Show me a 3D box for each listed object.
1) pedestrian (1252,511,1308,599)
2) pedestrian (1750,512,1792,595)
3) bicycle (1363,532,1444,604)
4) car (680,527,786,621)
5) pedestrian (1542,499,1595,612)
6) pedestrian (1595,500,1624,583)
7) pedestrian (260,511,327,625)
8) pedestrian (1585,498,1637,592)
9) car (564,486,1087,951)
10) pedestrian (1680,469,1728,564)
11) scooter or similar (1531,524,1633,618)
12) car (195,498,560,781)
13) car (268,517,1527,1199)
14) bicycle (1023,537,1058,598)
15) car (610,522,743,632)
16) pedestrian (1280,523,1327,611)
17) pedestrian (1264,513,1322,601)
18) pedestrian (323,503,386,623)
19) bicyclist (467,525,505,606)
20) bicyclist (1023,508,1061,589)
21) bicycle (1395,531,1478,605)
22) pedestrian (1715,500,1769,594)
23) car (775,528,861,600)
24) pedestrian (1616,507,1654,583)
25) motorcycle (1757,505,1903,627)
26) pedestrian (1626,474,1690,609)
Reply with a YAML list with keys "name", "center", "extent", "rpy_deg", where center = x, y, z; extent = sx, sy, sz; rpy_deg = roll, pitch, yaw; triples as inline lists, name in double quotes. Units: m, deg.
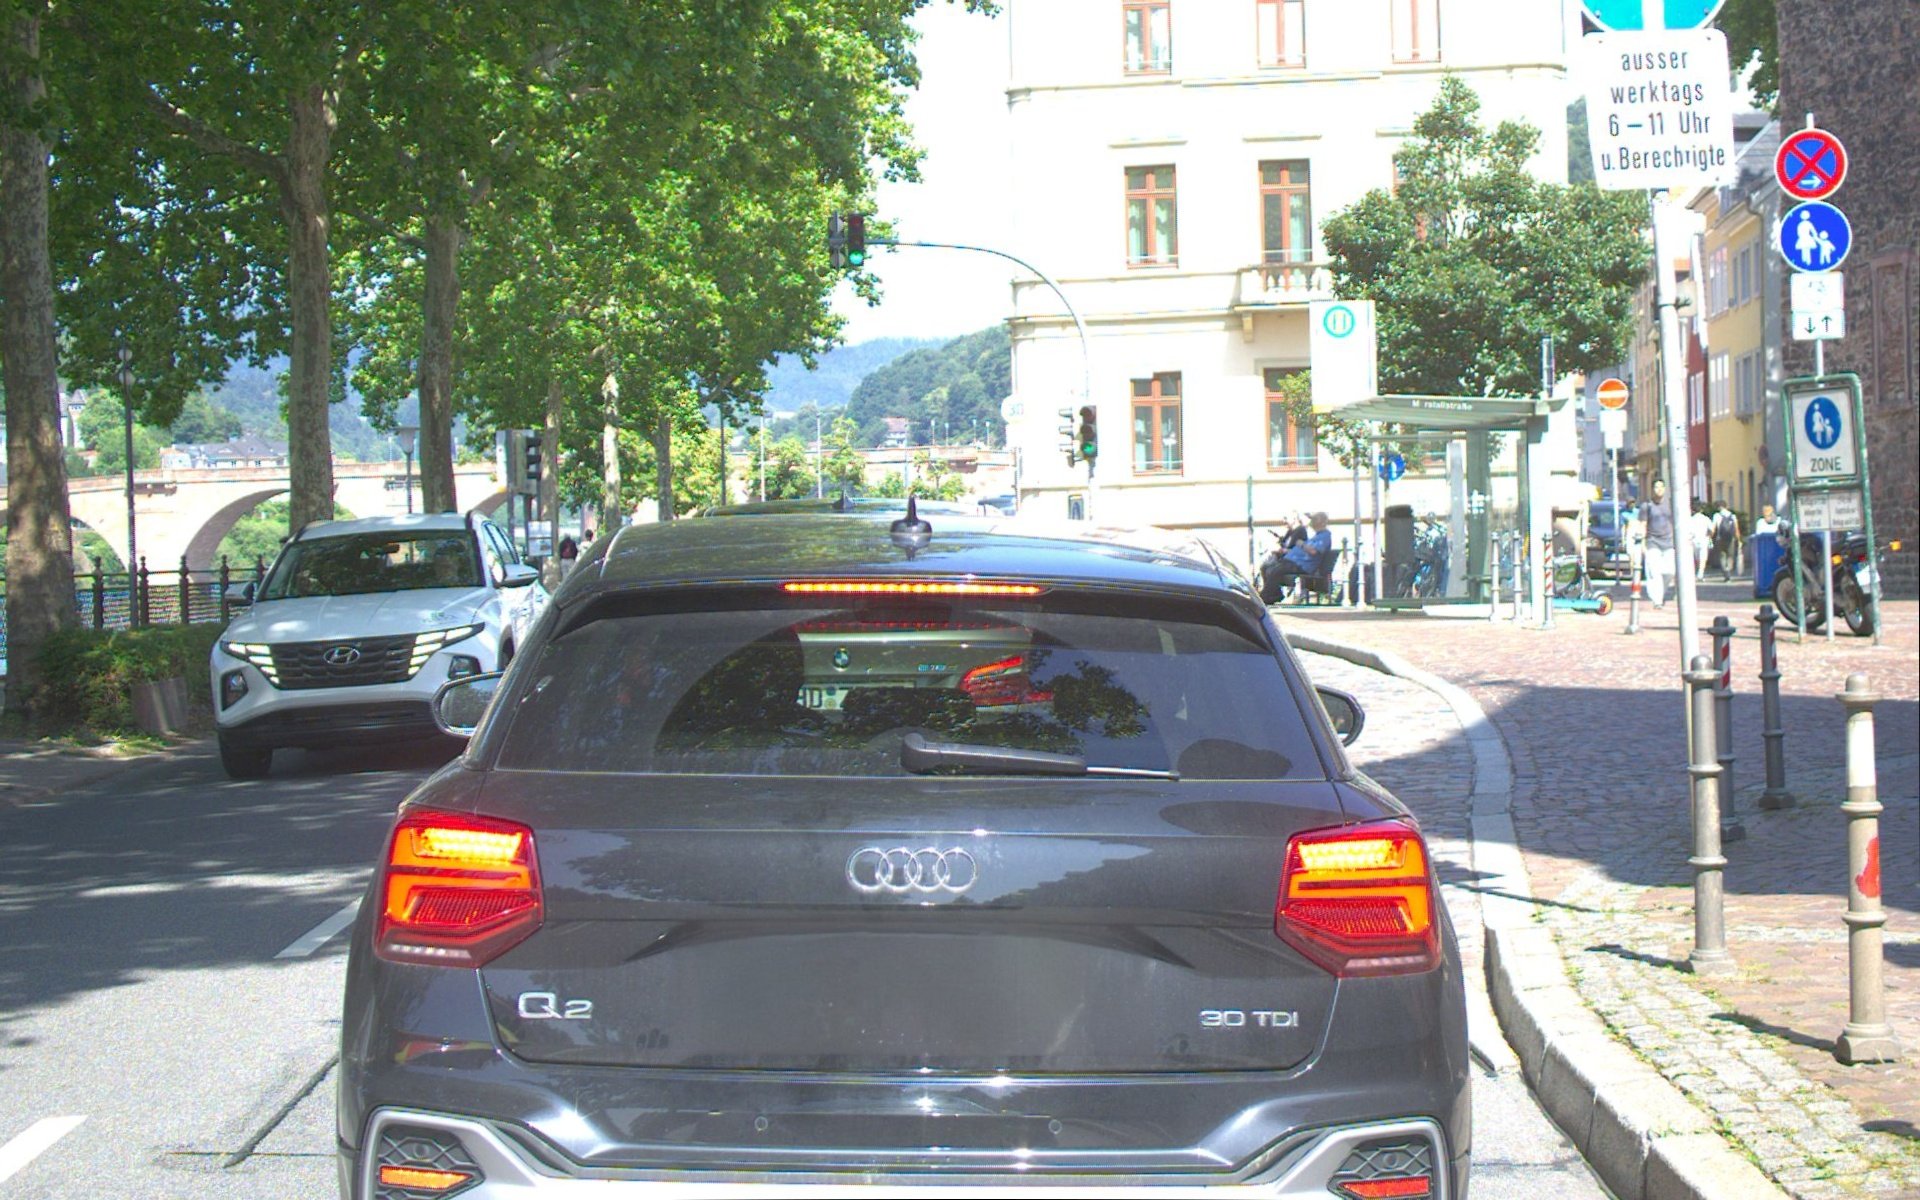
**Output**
- name: "pedestrian"
  center: [4.543, -0.637, 48.828]
  extent: [0.663, 1.227, 0.641]
  rpy_deg: [1, 0, -6]
- name: "pedestrian"
  center: [16.126, -0.929, 68.357]
  extent: [0.691, 1.607, 0.890]
  rpy_deg: [-2, 1, 18]
- name: "bicycle"
  center: [6.397, -0.461, 49.589]
  extent: [1.184, 1.012, 0.179]
  rpy_deg: [1, 0, -19]
- name: "car"
  center: [-4.762, -0.582, 72.730]
  extent: [1.813, 1.719, 4.422]
  rpy_deg: [-6, 1, 0]
- name: "pedestrian"
  center: [7.529, -0.550, 42.541]
  extent: [0.557, 1.380, 0.588]
  rpy_deg: [1, 0, 2]
- name: "pedestrian"
  center: [13.198, -1.191, 69.853]
  extent: [0.449, 1.675, 0.466]
  rpy_deg: [1, 0, -7]
- name: "pedestrian"
  center: [-10.635, -0.507, 54.853]
  extent: [0.911, 1.805, 0.586]
  rpy_deg: [1, 0, 4]
- name: "pedestrian"
  center: [14.006, -1.177, 74.009]
  extent: [0.944, 2.007, 0.807]
  rpy_deg: [1, 0, 0]
- name: "car"
  center: [-0.487, 0.375, 13.643]
  extent: [1.793, 1.589, 3.399]
  rpy_deg: [1, 1, -1]
- name: "pedestrian"
  center: [15.897, -1.782, 73.487]
  extent: [0.839, 2.007, 0.738]
  rpy_deg: [1, 0, 0]
- name: "scooter or similar"
  center: [7.126, -0.333, 39.376]
  extent: [1.088, 1.062, 0.323]
  rpy_deg: [1, 0, -2]
- name: "car"
  center: [-3.870, 0.207, 23.477]
  extent: [1.769, 1.654, 4.000]
  rpy_deg: [-4, 1, -1]
- name: "car"
  center: [-0.113, 0.610, 6.626]
  extent: [1.743, 1.504, 3.647]
  rpy_deg: [1, 1, -1]
- name: "bicycle"
  center: [1.437, -0.579, 61.797]
  extent: [0.437, 1.082, 1.677]
  rpy_deg: [1, 0, -5]
- name: "car"
  center: [-4.543, -0.405, 55.564]
  extent: [1.738, 1.566, 4.092]
  rpy_deg: [-4, 1, 0]
- name: "pedestrian"
  center: [5.854, -0.561, 58.592]
  extent: [0.693, 1.495, 0.514]
  rpy_deg: [1, 0, -4]
- name: "pedestrian"
  center: [4.656, -0.603, 48.078]
  extent: [0.663, 1.207, 0.641]
  rpy_deg: [1, 0, -6]
- name: "pedestrian"
  center: [-10.187, -0.626, 57.881]
  extent: [0.911, 2.007, 0.585]
  rpy_deg: [1, 0, 4]
- name: "bicyclist"
  center: [-7.690, -0.558, 55.839]
  extent: [0.566, 1.307, 0.552]
  rpy_deg: [1, 0, -5]
- name: "bicyclist"
  center: [1.468, -0.928, 61.798]
  extent: [0.605, 1.445, 0.591]
  rpy_deg: [1, 0, -5]
- name: "bicycle"
  center: [6.791, -0.453, 49.007]
  extent: [1.201, 1.031, 0.179]
  rpy_deg: [1, 0, -19]
- name: "pedestrian"
  center: [16.828, -1.142, 73.988]
  extent: [0.940, 2.007, 0.807]
  rpy_deg: [1, 0, 0]
- name: "car"
  center: [-3.674, -0.929, 89.375]
  extent: [1.993, 1.800, 4.000]
  rpy_deg: [1, 0, 1]
- name: "pedestrian"
  center: [13.728, -1.122, 69.932]
  extent: [0.622, 1.526, 0.466]
  rpy_deg: [1, 0, -6]
- name: "motorcycle"
  center: [7.599, -0.315, 30.122]
  extent: [0.566, 1.009, 2.490]
  rpy_deg: [-1, 1, -2]
- name: "pedestrian"
  center: [9.889, -0.827, 48.711]
  extent: [0.747, 1.884, 0.752]
  rpy_deg: [1, 0, 2]
